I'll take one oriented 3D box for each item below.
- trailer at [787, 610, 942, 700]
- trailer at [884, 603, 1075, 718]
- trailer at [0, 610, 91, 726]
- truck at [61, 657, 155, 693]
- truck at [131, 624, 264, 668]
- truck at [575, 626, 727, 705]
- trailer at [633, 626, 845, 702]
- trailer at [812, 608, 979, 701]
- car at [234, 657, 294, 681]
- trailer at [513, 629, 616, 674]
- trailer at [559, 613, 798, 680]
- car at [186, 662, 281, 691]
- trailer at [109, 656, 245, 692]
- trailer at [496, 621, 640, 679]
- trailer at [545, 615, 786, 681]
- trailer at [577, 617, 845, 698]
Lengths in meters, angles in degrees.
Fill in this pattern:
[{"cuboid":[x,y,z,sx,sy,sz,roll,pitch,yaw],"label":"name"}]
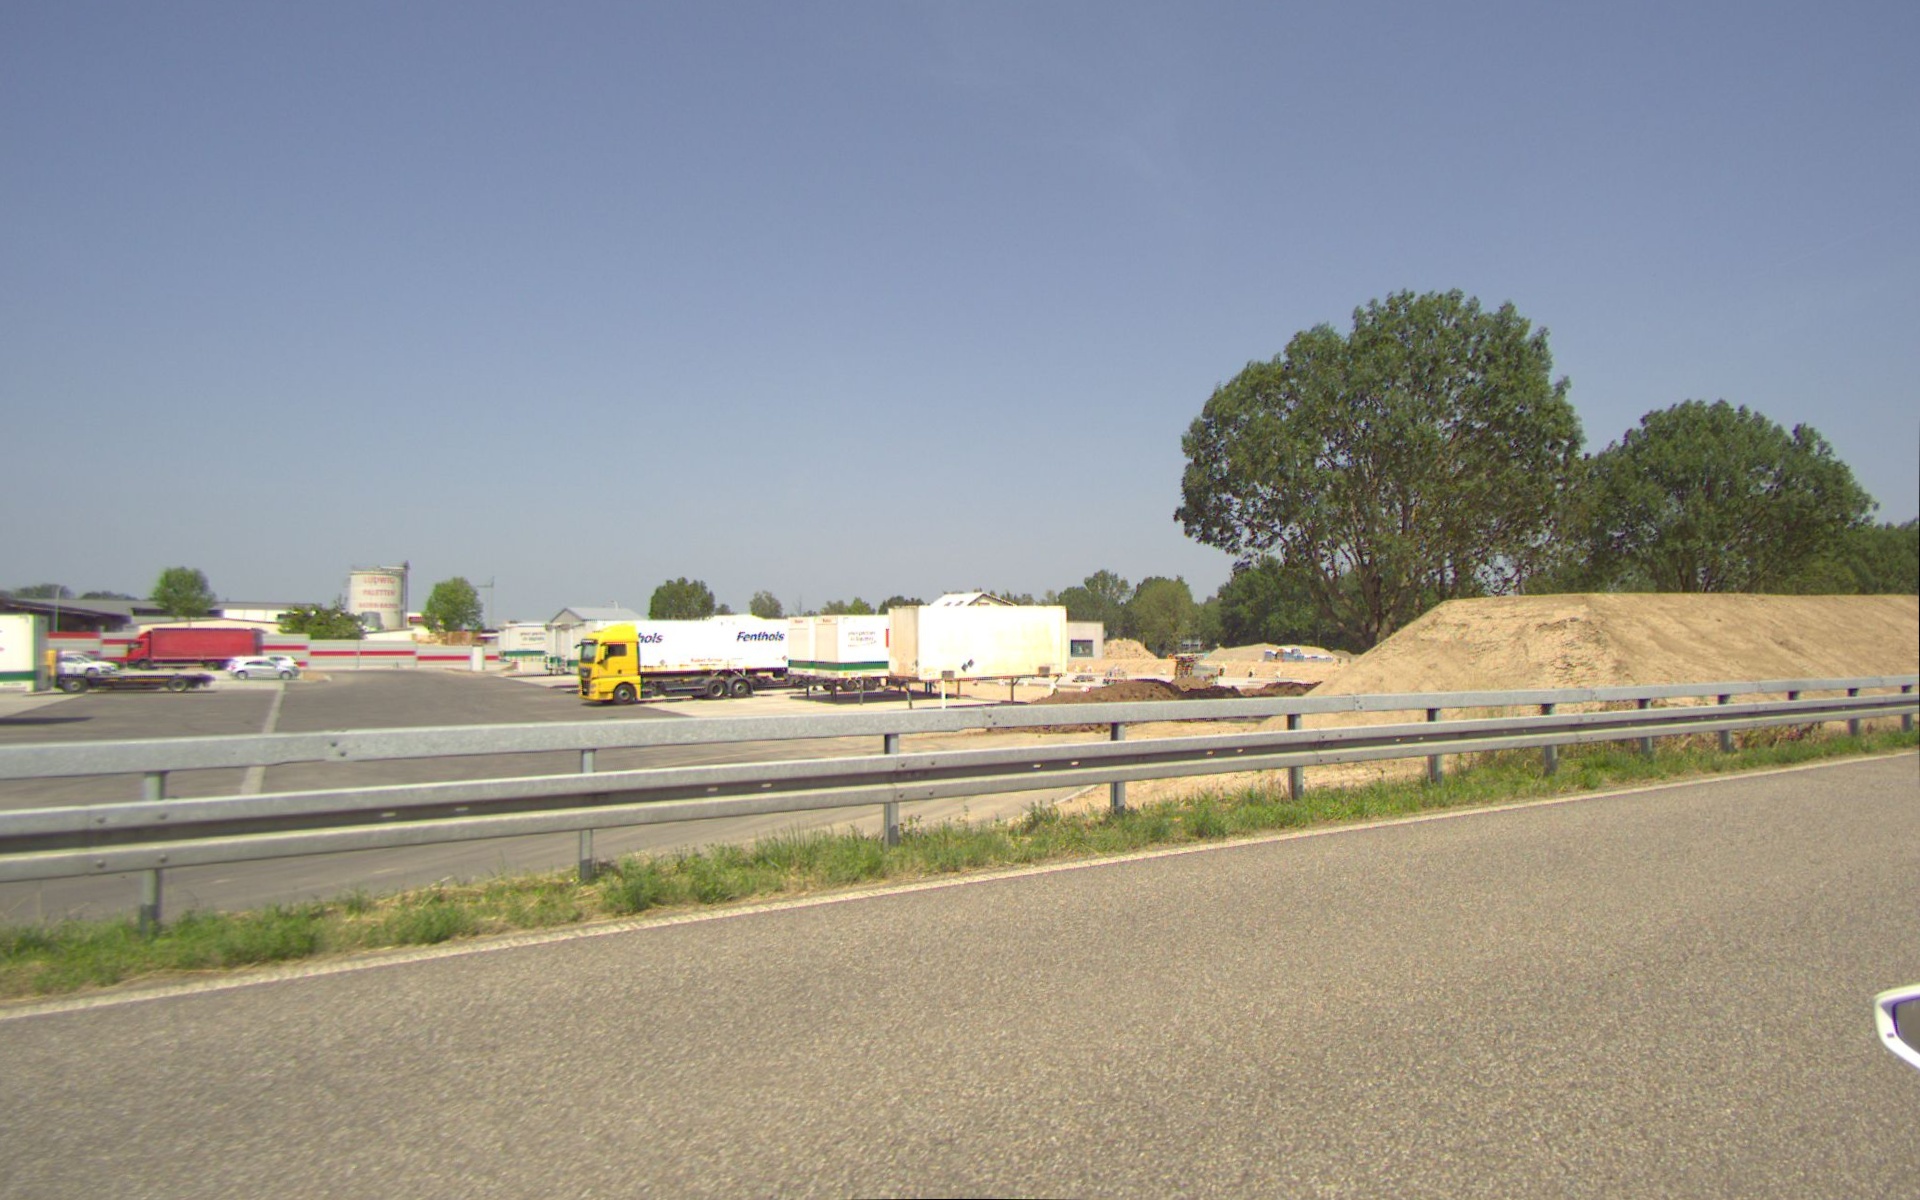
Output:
[{"cuboid":[-4.809,2.689,51.175,7.458,4.275,2.838,1,-1,-33],"label":"trailer"},{"cuboid":[0.915,2.369,41.636,7.870,4.390,2.662,1,-1,-34],"label":"trailer"},{"cuboid":[-39.768,2.484,35.627,13.254,4.260,2.646,1,-1,-35],"label":"trailer"},{"cuboid":[-50.863,4.482,60.076,3.957,2.039,1.983,1,-4,-33],"label":"truck"},{"cuboid":[-65.340,3.938,86.293,8.766,3.552,1.989,0,-4,-24],"label":"truck"},{"cuboid":[-15.069,3.103,49.365,6.797,3.556,2.349,1,-1,-40],"label":"truck"},{"cuboid":[-11.279,3.163,52.578,11.077,3.556,2.349,1,-1,-40],"label":"trailer"},{"cuboid":[-3.061,2.530,48.748,7.813,4.203,2.728,1,-1,-33],"label":"trailer"},{"cuboid":[-51.843,5.143,74.867,3.532,1.748,1.421,2,-5,-41],"label":"car"},{"cuboid":[-35.274,4.517,89.783,8.237,3.821,2.454,1,-1,-35],"label":"trailer"},{"cuboid":[-16.758,2.684,61.102,13.933,3.740,2.639,1,-1,-35],"label":"trailer"},{"cuboid":[-48.280,5.068,66.902,5.033,1.832,1.982,1,-4,-34],"label":"car"},{"cuboid":[-48.078,4.532,61.887,6.389,2.039,1.983,1,-4,-33],"label":"trailer"},{"cuboid":[-31.913,3.925,82.228,10.758,4.463,2.635,1,-1,-39],"label":"trailer"},{"cuboid":[-19.090,3.023,66.496,15.303,3.974,2.639,1,-1,-35],"label":"trailer"},{"cuboid":[-14.230,3.177,59.119,15.424,4.317,2.680,1,-1,-35],"label":"trailer"}]
